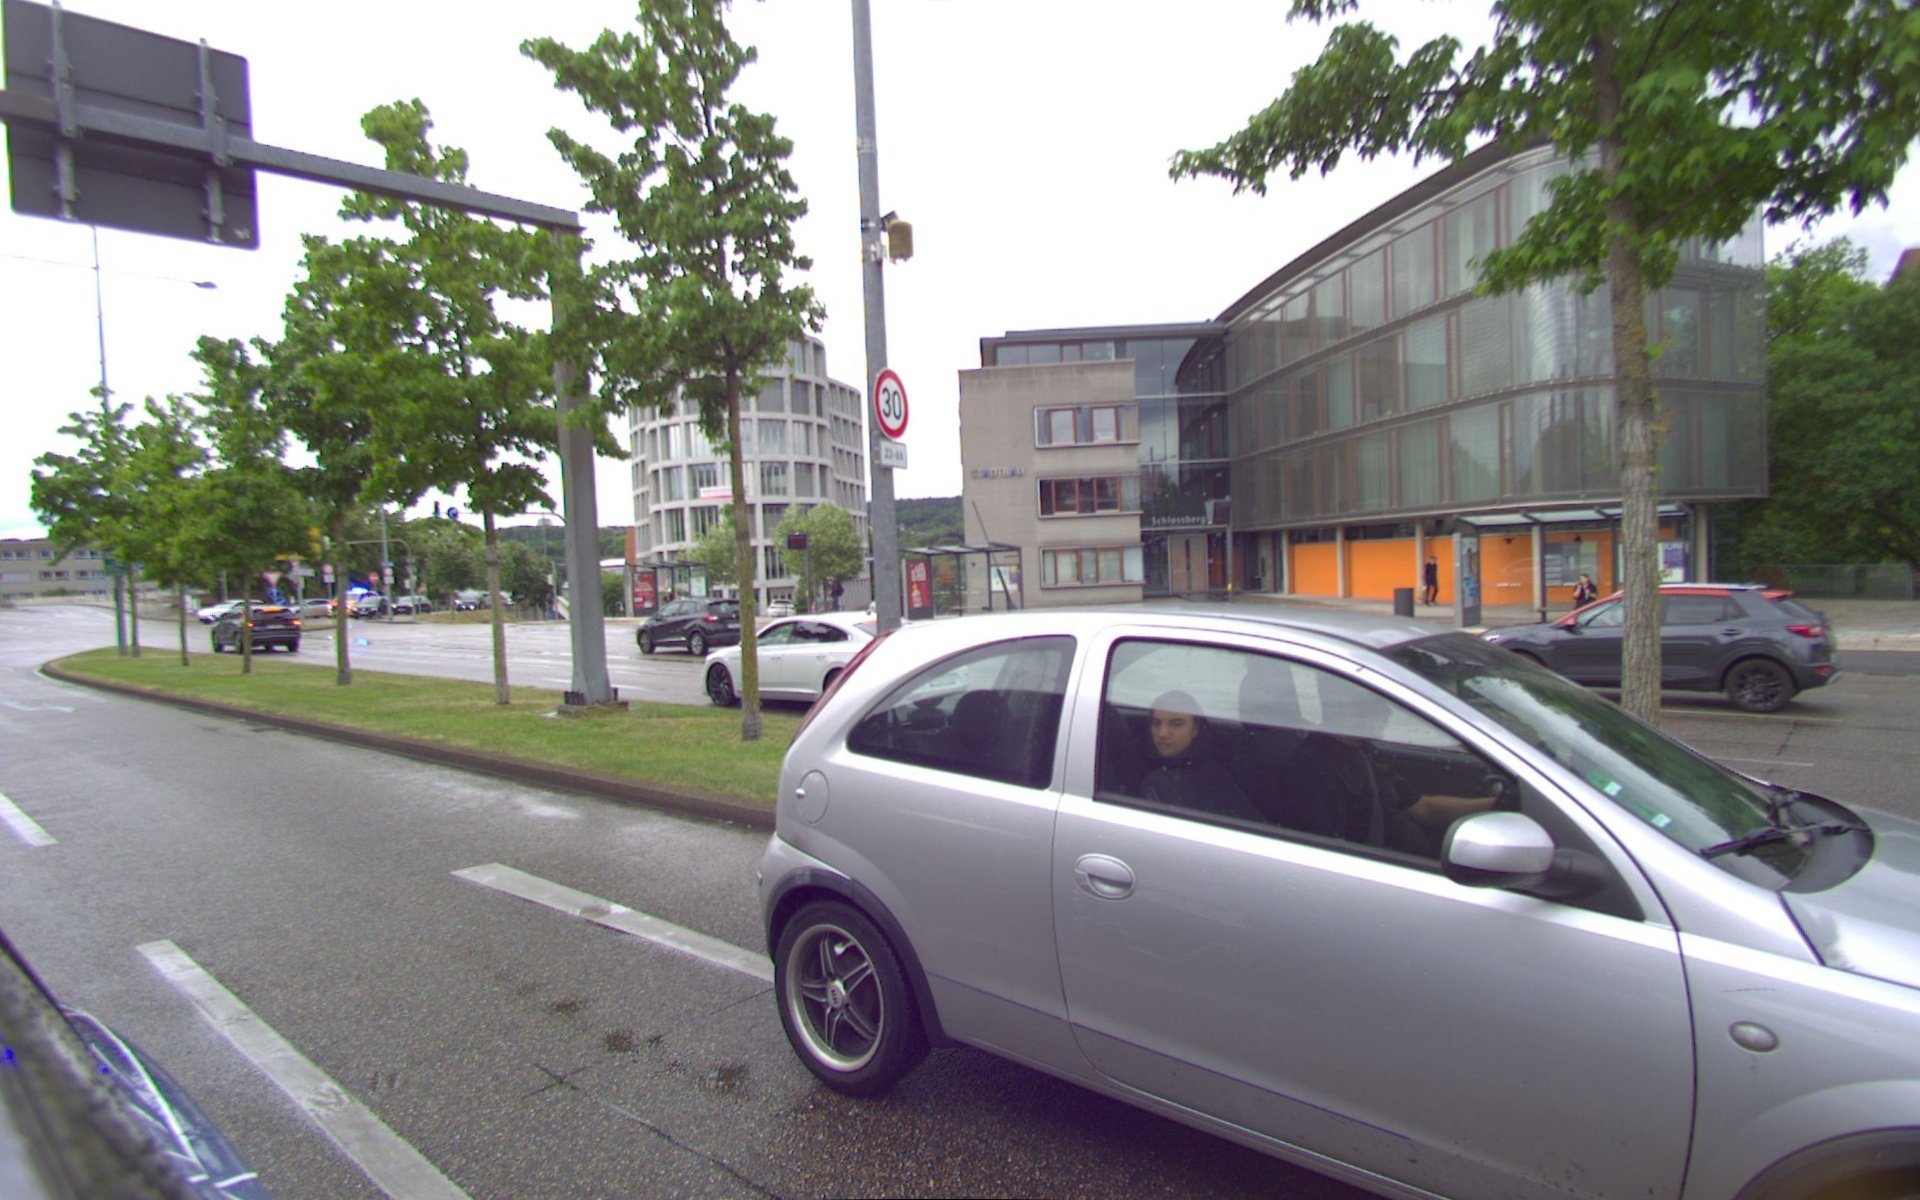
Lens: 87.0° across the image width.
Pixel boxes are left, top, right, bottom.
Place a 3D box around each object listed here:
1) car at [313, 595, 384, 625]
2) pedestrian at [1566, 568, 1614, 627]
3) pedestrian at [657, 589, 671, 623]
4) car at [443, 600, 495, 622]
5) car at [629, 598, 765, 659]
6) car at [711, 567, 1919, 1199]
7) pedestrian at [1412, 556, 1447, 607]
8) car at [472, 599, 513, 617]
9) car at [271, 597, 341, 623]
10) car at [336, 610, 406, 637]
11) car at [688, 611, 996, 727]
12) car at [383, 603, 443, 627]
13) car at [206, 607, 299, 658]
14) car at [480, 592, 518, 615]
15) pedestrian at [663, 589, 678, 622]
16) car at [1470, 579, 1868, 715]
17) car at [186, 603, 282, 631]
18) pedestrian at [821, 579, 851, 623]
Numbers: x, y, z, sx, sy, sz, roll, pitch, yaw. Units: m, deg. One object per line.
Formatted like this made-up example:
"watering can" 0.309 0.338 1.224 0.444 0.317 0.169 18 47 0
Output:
"car" -44.354 0.685 73.592 2.276 2.029 5.038 -1 0 -3
"pedestrian" 14.611 -0.052 23.482 0.790 1.334 0.793 -1 0 42
"pedestrian" -14.724 0.300 50.338 0.501 1.647 0.497 -1 0 41
"car" -41.096 0.866 84.813 2.164 1.725 4.920 -1 0 -3
"car" -7.461 0.777 28.551 4.078 1.542 1.752 -1 0 42
"car" 1.165 0.684 2.615 3.733 1.469 1.607 -1 0 40
"pedestrian" 15.870 -0.615 34.248 0.697 1.666 0.852 -1 0 -6
"car" -47.133 0.752 102.116 2.163 1.725 4.922 -1 0 -5
"car" -47.588 0.716 73.717 1.982 1.807 3.979 -1 0 16
"car" -41.100 1.609 70.724 2.164 1.725 4.919 -1 0 -3
"car" -1.881 0.896 14.855 4.858 1.392 1.706 -1 0 42
"car" -42.145 1.140 78.079 2.164 1.725 4.919 -1 0 -3
"car" -25.273 1.137 36.082 4.600 1.652 1.802 -1 1 43
"car" -42.832 0.278 94.192 1.969 2.029 4.005 -2 0 -6
"pedestrian" -14.553 0.294 50.906 0.535 1.647 0.514 -1 0 41
"car" 9.069 0.534 13.187 4.028 1.487 1.612 -1 0 45
"car" -48.837 1.117 68.215 2.179 1.725 4.885 -1 0 19
"pedestrian" -5.082 0.025 41.540 0.964 1.773 0.783 -1 0 12
